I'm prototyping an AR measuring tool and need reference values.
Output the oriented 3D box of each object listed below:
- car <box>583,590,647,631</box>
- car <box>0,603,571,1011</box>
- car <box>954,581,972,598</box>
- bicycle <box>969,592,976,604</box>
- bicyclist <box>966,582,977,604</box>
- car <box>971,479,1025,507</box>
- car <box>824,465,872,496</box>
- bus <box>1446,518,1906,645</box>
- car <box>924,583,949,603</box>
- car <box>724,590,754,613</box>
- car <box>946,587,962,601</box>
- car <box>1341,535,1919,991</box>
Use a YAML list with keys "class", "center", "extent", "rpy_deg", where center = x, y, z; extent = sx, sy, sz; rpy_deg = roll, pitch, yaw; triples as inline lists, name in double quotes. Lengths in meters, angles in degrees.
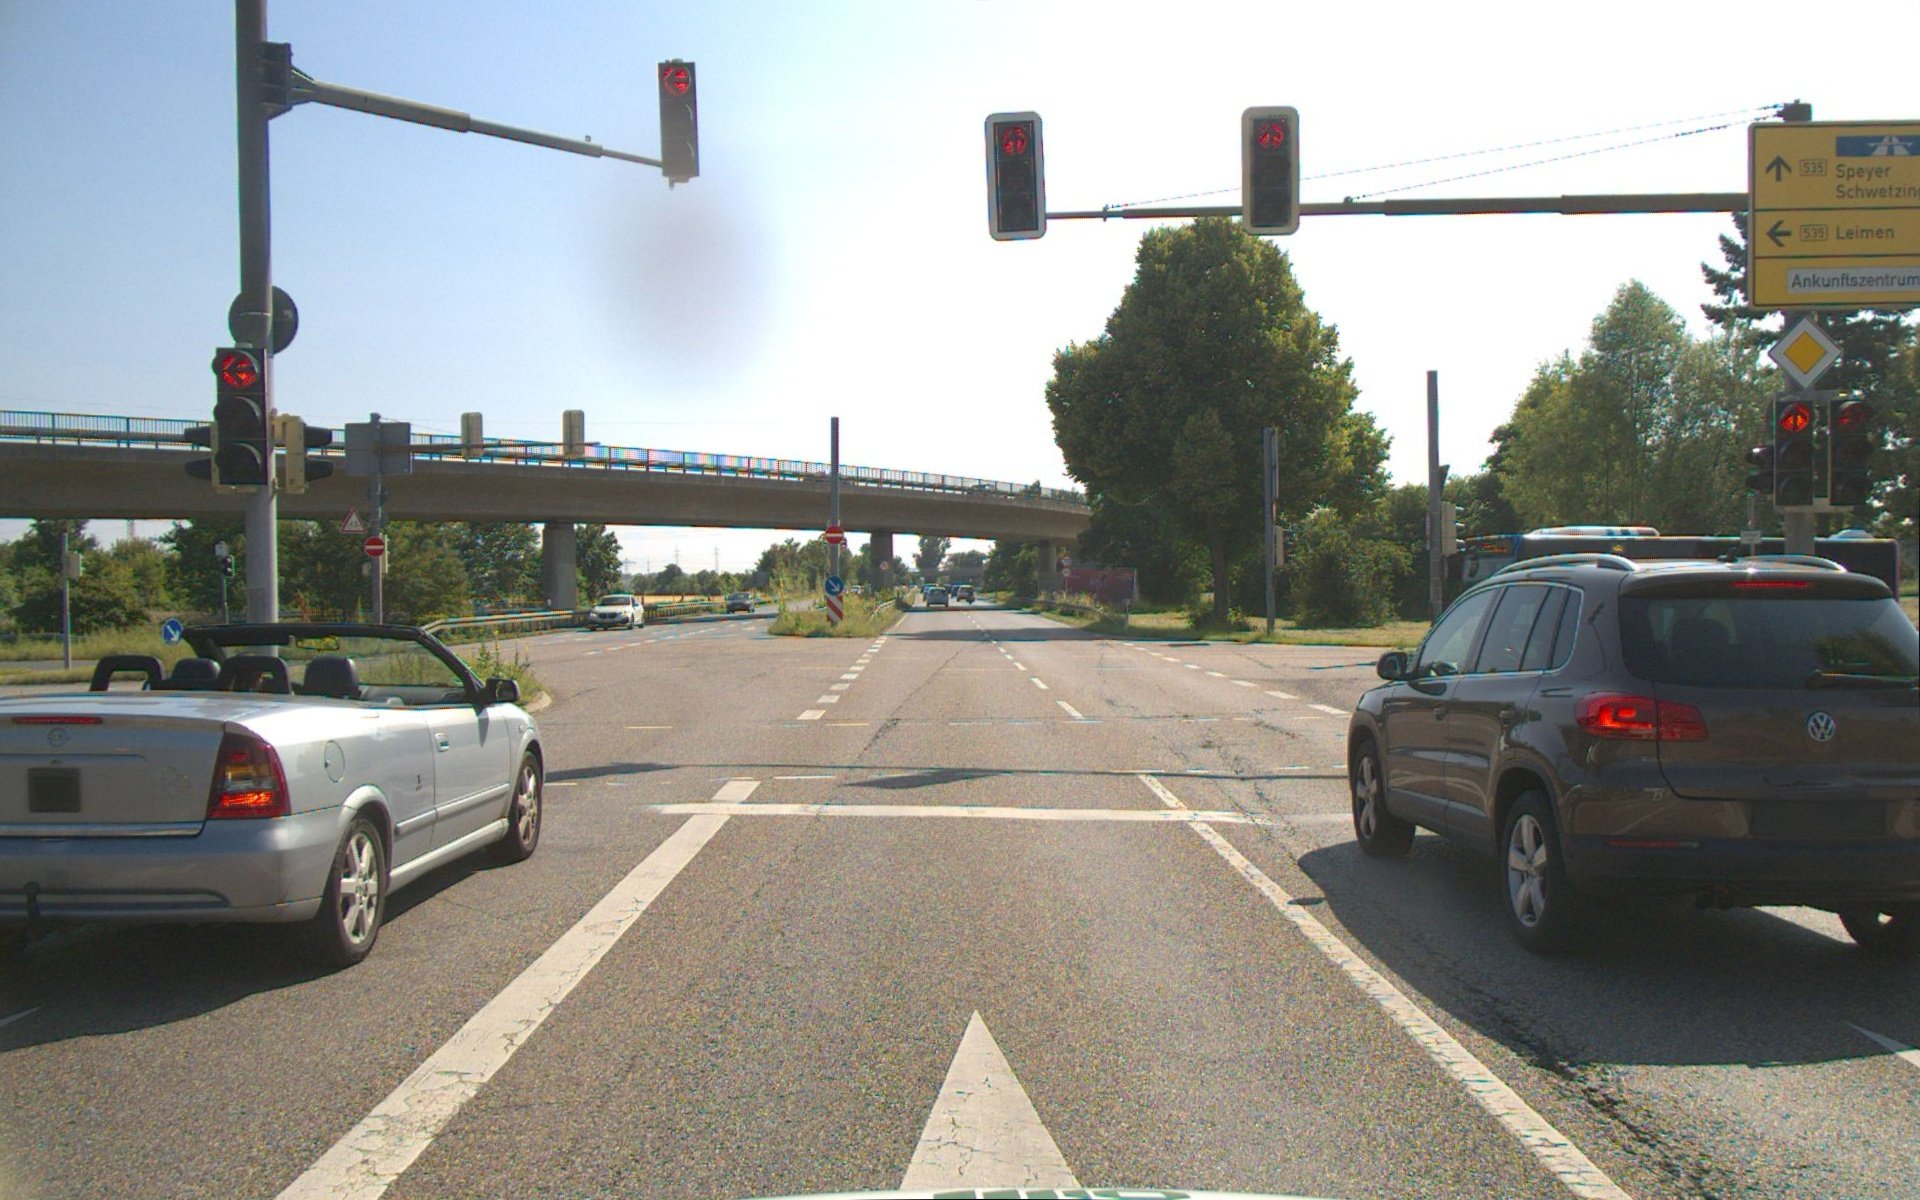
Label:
- class: "car"
  center: [-14.546, 0.412, 69.967]
  extent: [1.845, 1.541, 4.147]
  rpy_deg: [-3, 0, -2]
- class: "car"
  center: [-3.131, 0.724, 7.796]
  extent: [1.639, 1.358, 4.098]
  rpy_deg: [0, 1, 0]
- class: "car"
  center: [0.282, -1.098, 174.077]
  extent: [1.835, 1.668, 4.000]
  rpy_deg: [1, 1, 0]
- class: "bicycle"
  center: [1.115, -0.181, 149.317]
  extent: [0.588, 1.000, 2.361]
  rpy_deg: [-1, 0, 0]
- class: "bicyclist"
  center: [1.049, -0.641, 149.630]
  extent: [0.986, 1.919, 1.327]
  rpy_deg: [-1, 0, 0]
- class: "car"
  center: [2.580, -7.149, 110.851]
  extent: [1.956, 1.512, 3.993]
  rpy_deg: [1, -1, 29]
- class: "car"
  center: [-6.294, -6.715, 92.951]
  extent: [1.293, 1.512, 3.196]
  rpy_deg: [-1, 0, 24]
- class: "bus"
  center: [18.579, -0.528, 42.836]
  extent: [11.744, 2.927, 2.930]
  rpy_deg: [-1, 0, -16]
- class: "car"
  center: [-1.768, -0.543, 127.582]
  extent: [1.813, 1.486, 4.000]
  rpy_deg: [1, 1, 0]
- class: "car"
  center: [-15.503, 0.084, 116.151]
  extent: [1.582, 1.467, 3.776]
  rpy_deg: [-3, 0, -1]
- class: "car"
  center: [-0.724, -0.708, 208.509]
  extent: [1.953, 1.660, 3.999]
  rpy_deg: [2, 0, -1]
- class: "car"
  center: [3.297, 0.606, 8.263]
  extent: [1.720, 1.684, 4.145]
  rpy_deg: [1, 0, -1]
